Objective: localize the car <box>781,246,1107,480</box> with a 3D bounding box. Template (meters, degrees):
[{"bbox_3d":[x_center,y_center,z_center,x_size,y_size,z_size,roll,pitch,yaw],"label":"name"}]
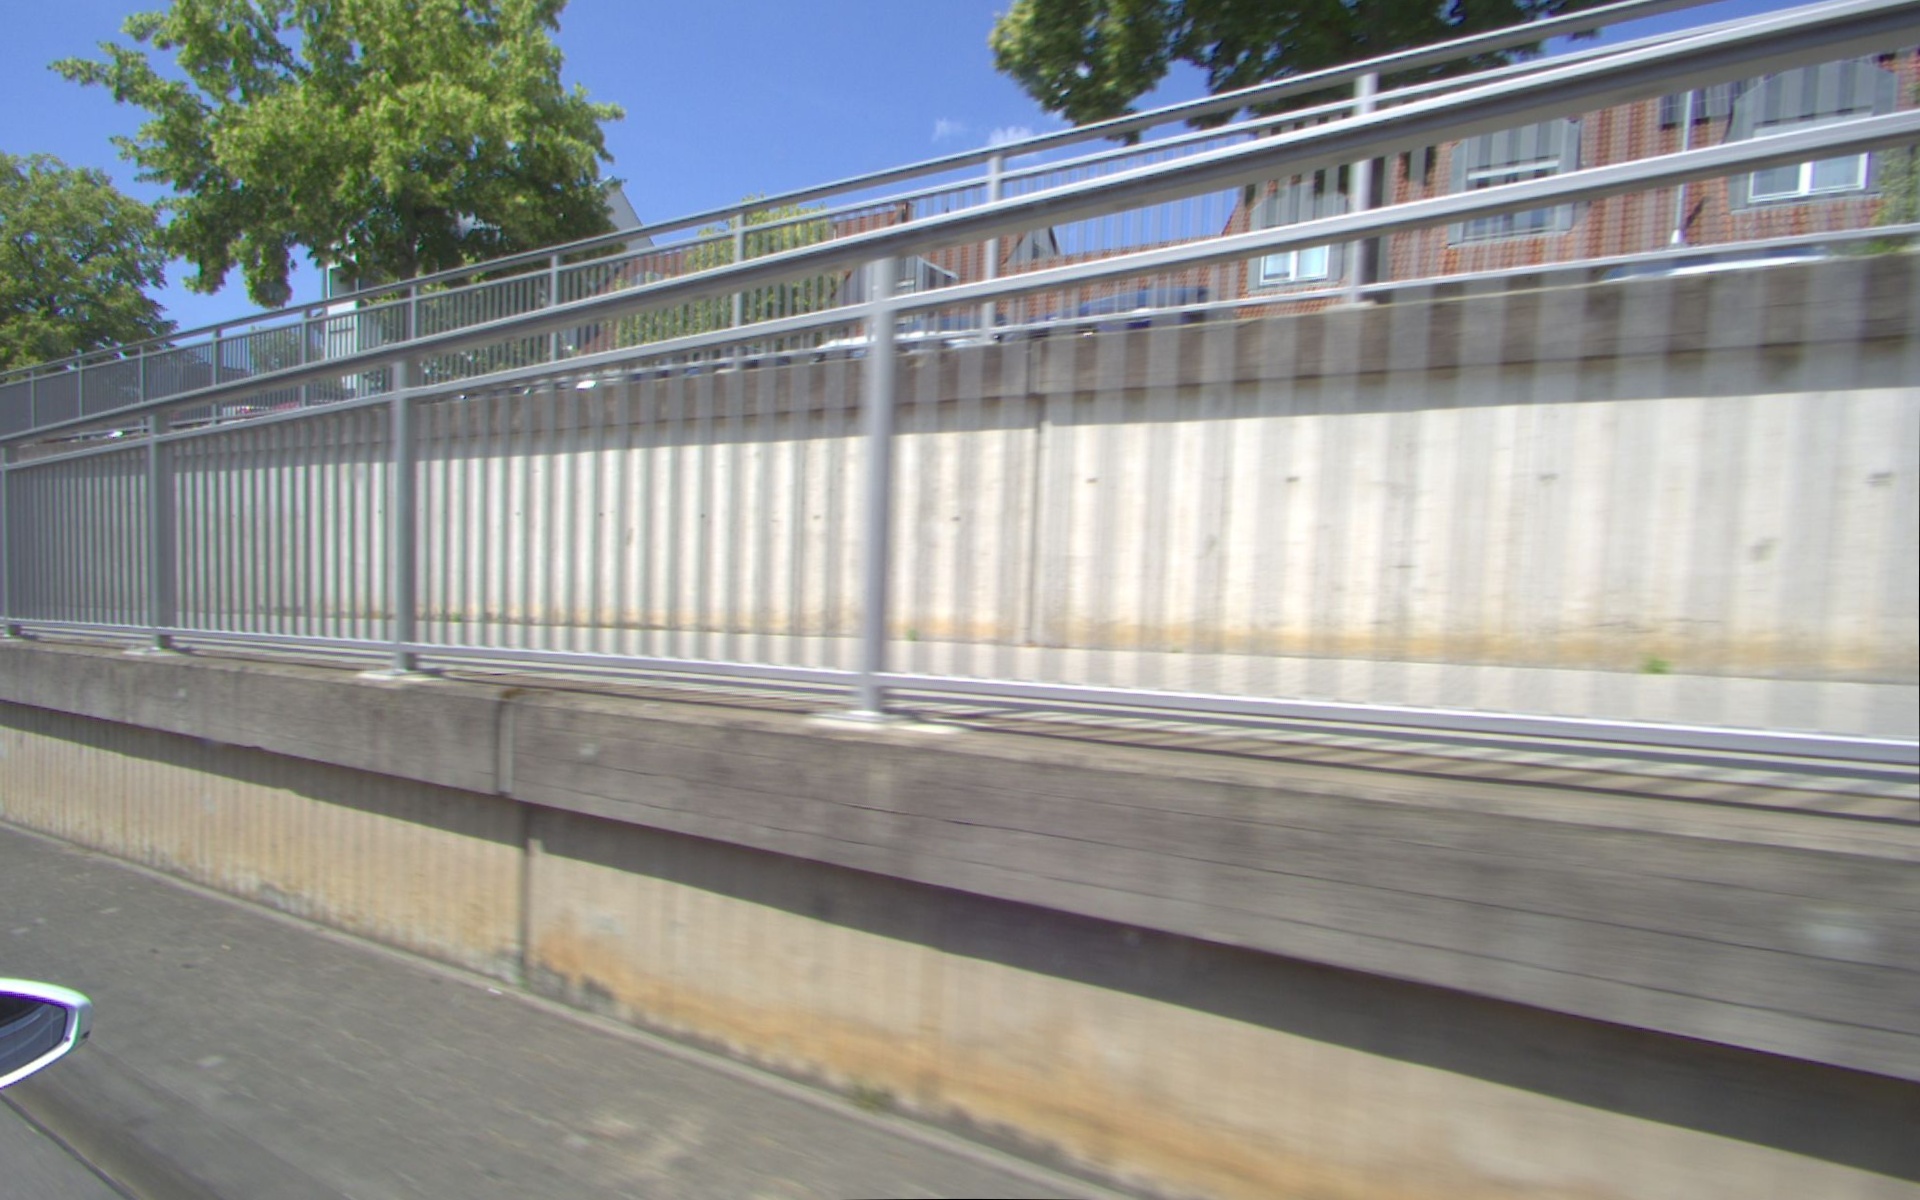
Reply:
[{"bbox_3d":[0.003,-2.434,11.330,1.701,1.576,3.976,0,-1,35],"label":"car"}]

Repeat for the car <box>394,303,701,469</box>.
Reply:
[{"bbox_3d":[-6.027,-3.039,15.048,1.746,1.505,3.975,0,-1,35],"label":"car"}]

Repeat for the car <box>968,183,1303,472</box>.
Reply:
[{"bbox_3d":[1.900,-2.344,9.739,1.701,1.576,3.976,0,-1,35],"label":"car"}]

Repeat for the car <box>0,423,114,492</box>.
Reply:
[{"bbox_3d":[-26.802,-4.098,28.422,1.746,1.505,3.975,0,-1,35],"label":"car"}]

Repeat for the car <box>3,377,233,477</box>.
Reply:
[{"bbox_3d":[-20.179,-4.069,24.148,1.746,1.587,3.975,0,-1,35],"label":"car"}]

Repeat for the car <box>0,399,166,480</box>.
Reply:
[{"bbox_3d":[-23.742,-4.214,26.485,1.746,1.505,3.975,0,-1,35],"label":"car"}]

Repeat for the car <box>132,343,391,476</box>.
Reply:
[{"bbox_3d":[-14.017,-3.719,20.296,1.746,1.793,3.975,0,-1,35],"label":"car"}]

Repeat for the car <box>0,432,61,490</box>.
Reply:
[{"bbox_3d":[-30.272,-4.370,30.530,1.746,1.505,3.975,0,-1,35],"label":"car"}]

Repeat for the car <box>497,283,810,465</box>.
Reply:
[{"bbox_3d":[-4.118,-2.966,14.016,1.746,1.505,3.975,0,-1,35],"label":"car"}]

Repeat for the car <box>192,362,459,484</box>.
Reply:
[{"bbox_3d":[-11.991,-3.257,19.150,1.746,1.505,3.975,0,-1,35],"label":"car"}]

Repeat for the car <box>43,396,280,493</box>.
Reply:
[{"bbox_3d":[-18.300,-3.488,23.123,1.746,1.505,3.975,0,-1,35],"label":"car"}]

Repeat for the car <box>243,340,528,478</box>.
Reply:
[{"bbox_3d":[-9.850,-3.176,17.443,1.746,1.505,3.975,0,-1,35],"label":"car"}]

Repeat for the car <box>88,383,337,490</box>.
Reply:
[{"bbox_3d":[-15.944,-3.408,21.549,1.746,1.505,3.975,0,-1,35],"label":"car"}]

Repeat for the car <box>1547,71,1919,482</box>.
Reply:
[{"bbox_3d":[5.458,-1.931,7.328,1.701,1.576,3.976,0,-1,35],"label":"car"}]
